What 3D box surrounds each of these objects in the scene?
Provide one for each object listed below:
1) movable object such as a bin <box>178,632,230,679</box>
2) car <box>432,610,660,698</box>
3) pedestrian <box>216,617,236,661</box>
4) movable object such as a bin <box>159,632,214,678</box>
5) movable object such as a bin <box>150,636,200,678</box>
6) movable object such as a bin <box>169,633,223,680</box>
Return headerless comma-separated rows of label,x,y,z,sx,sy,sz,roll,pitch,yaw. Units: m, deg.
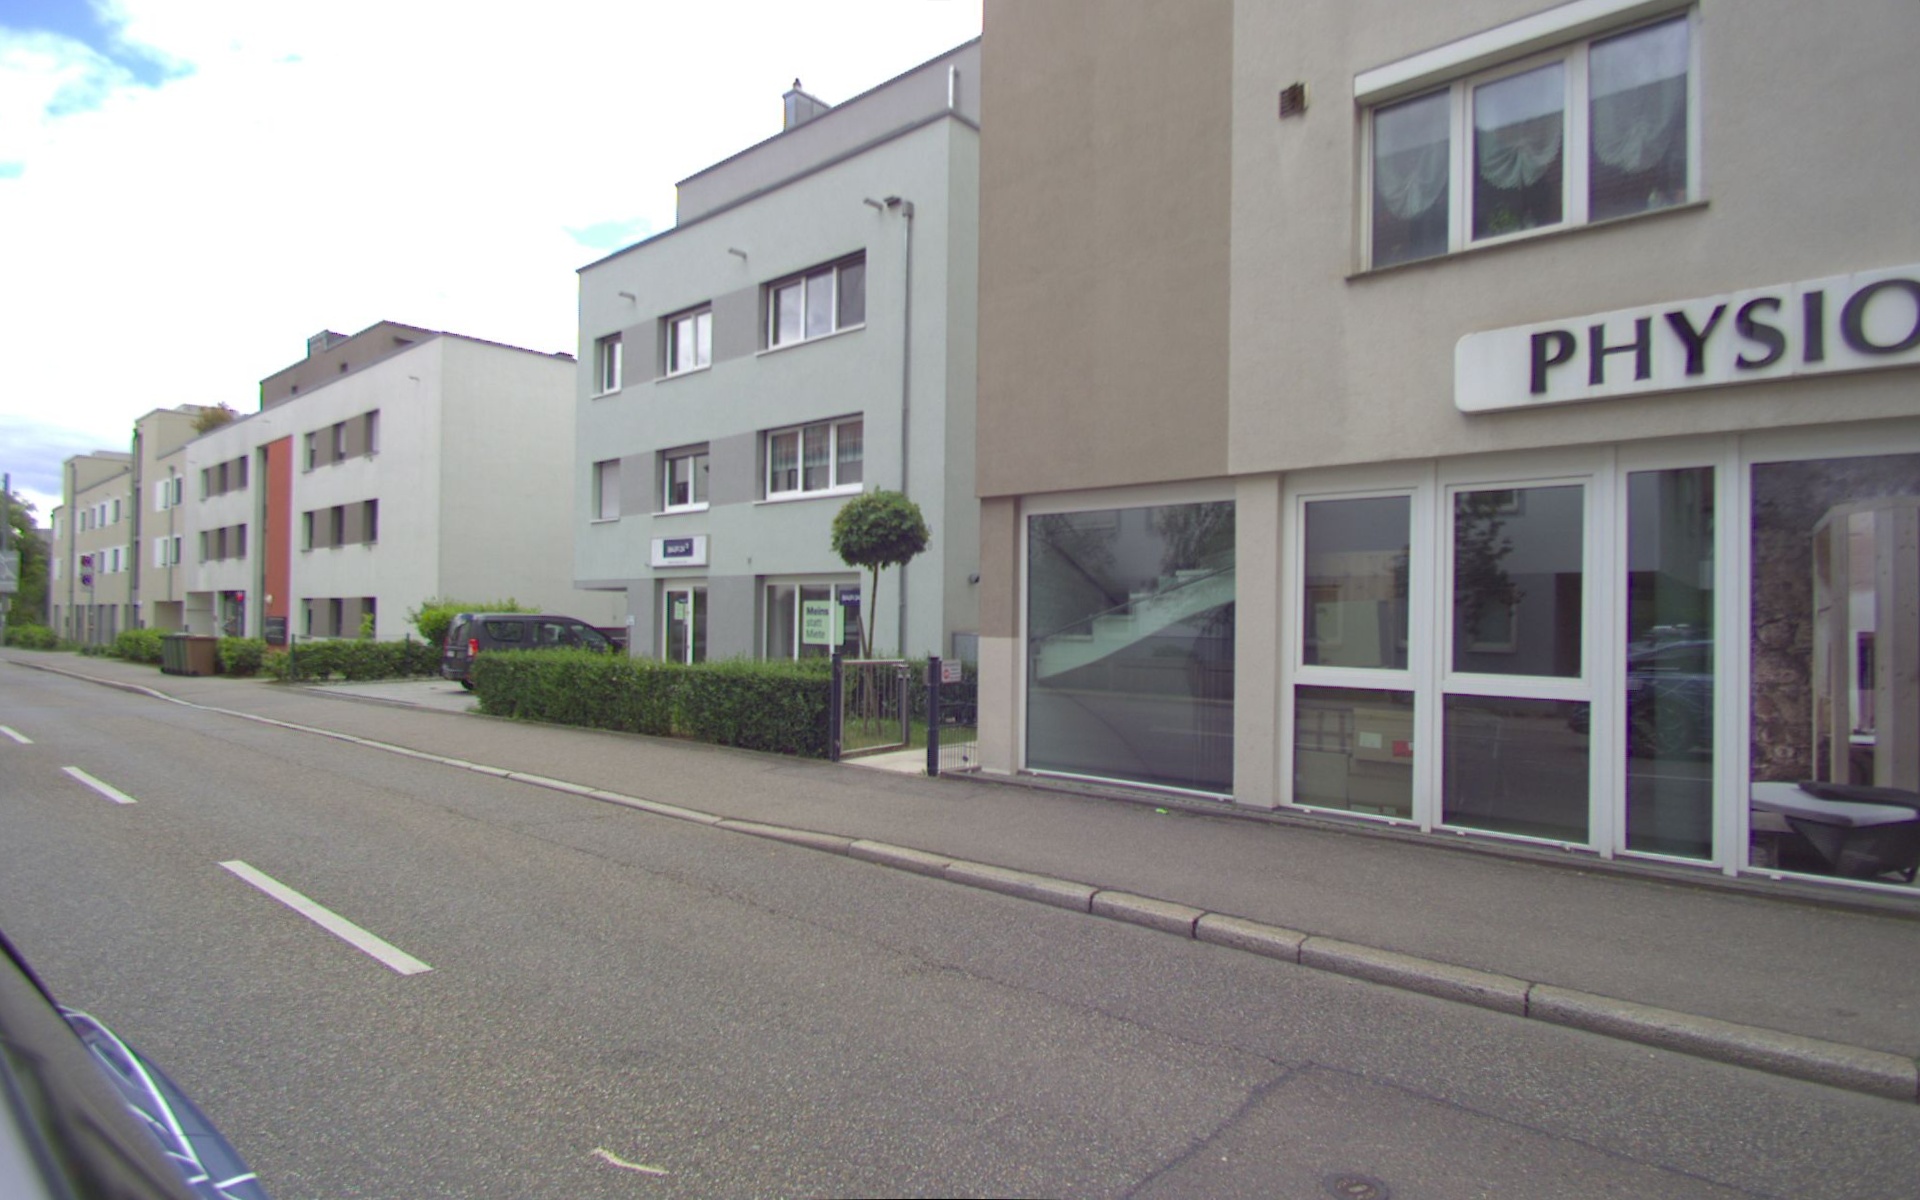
movable object such as a bin,-19.254,1.410,25.783,0.612,1.160,0.932,-1,-2,37
car,-8.682,1.093,21.467,1.725,1.680,4.116,-1,-2,44
pedestrian,-27.968,1.495,38.562,0.511,1.655,0.642,1,-2,-29
movable object such as a bin,-20.461,1.440,26.779,0.839,1.160,0.947,-1,-2,37
movable object such as a bin,-21.143,1.532,27.271,0.791,1.097,0.886,-1,-2,37
movable object such as a bin,-19.812,1.452,26.252,0.748,1.160,0.940,-1,-2,37
